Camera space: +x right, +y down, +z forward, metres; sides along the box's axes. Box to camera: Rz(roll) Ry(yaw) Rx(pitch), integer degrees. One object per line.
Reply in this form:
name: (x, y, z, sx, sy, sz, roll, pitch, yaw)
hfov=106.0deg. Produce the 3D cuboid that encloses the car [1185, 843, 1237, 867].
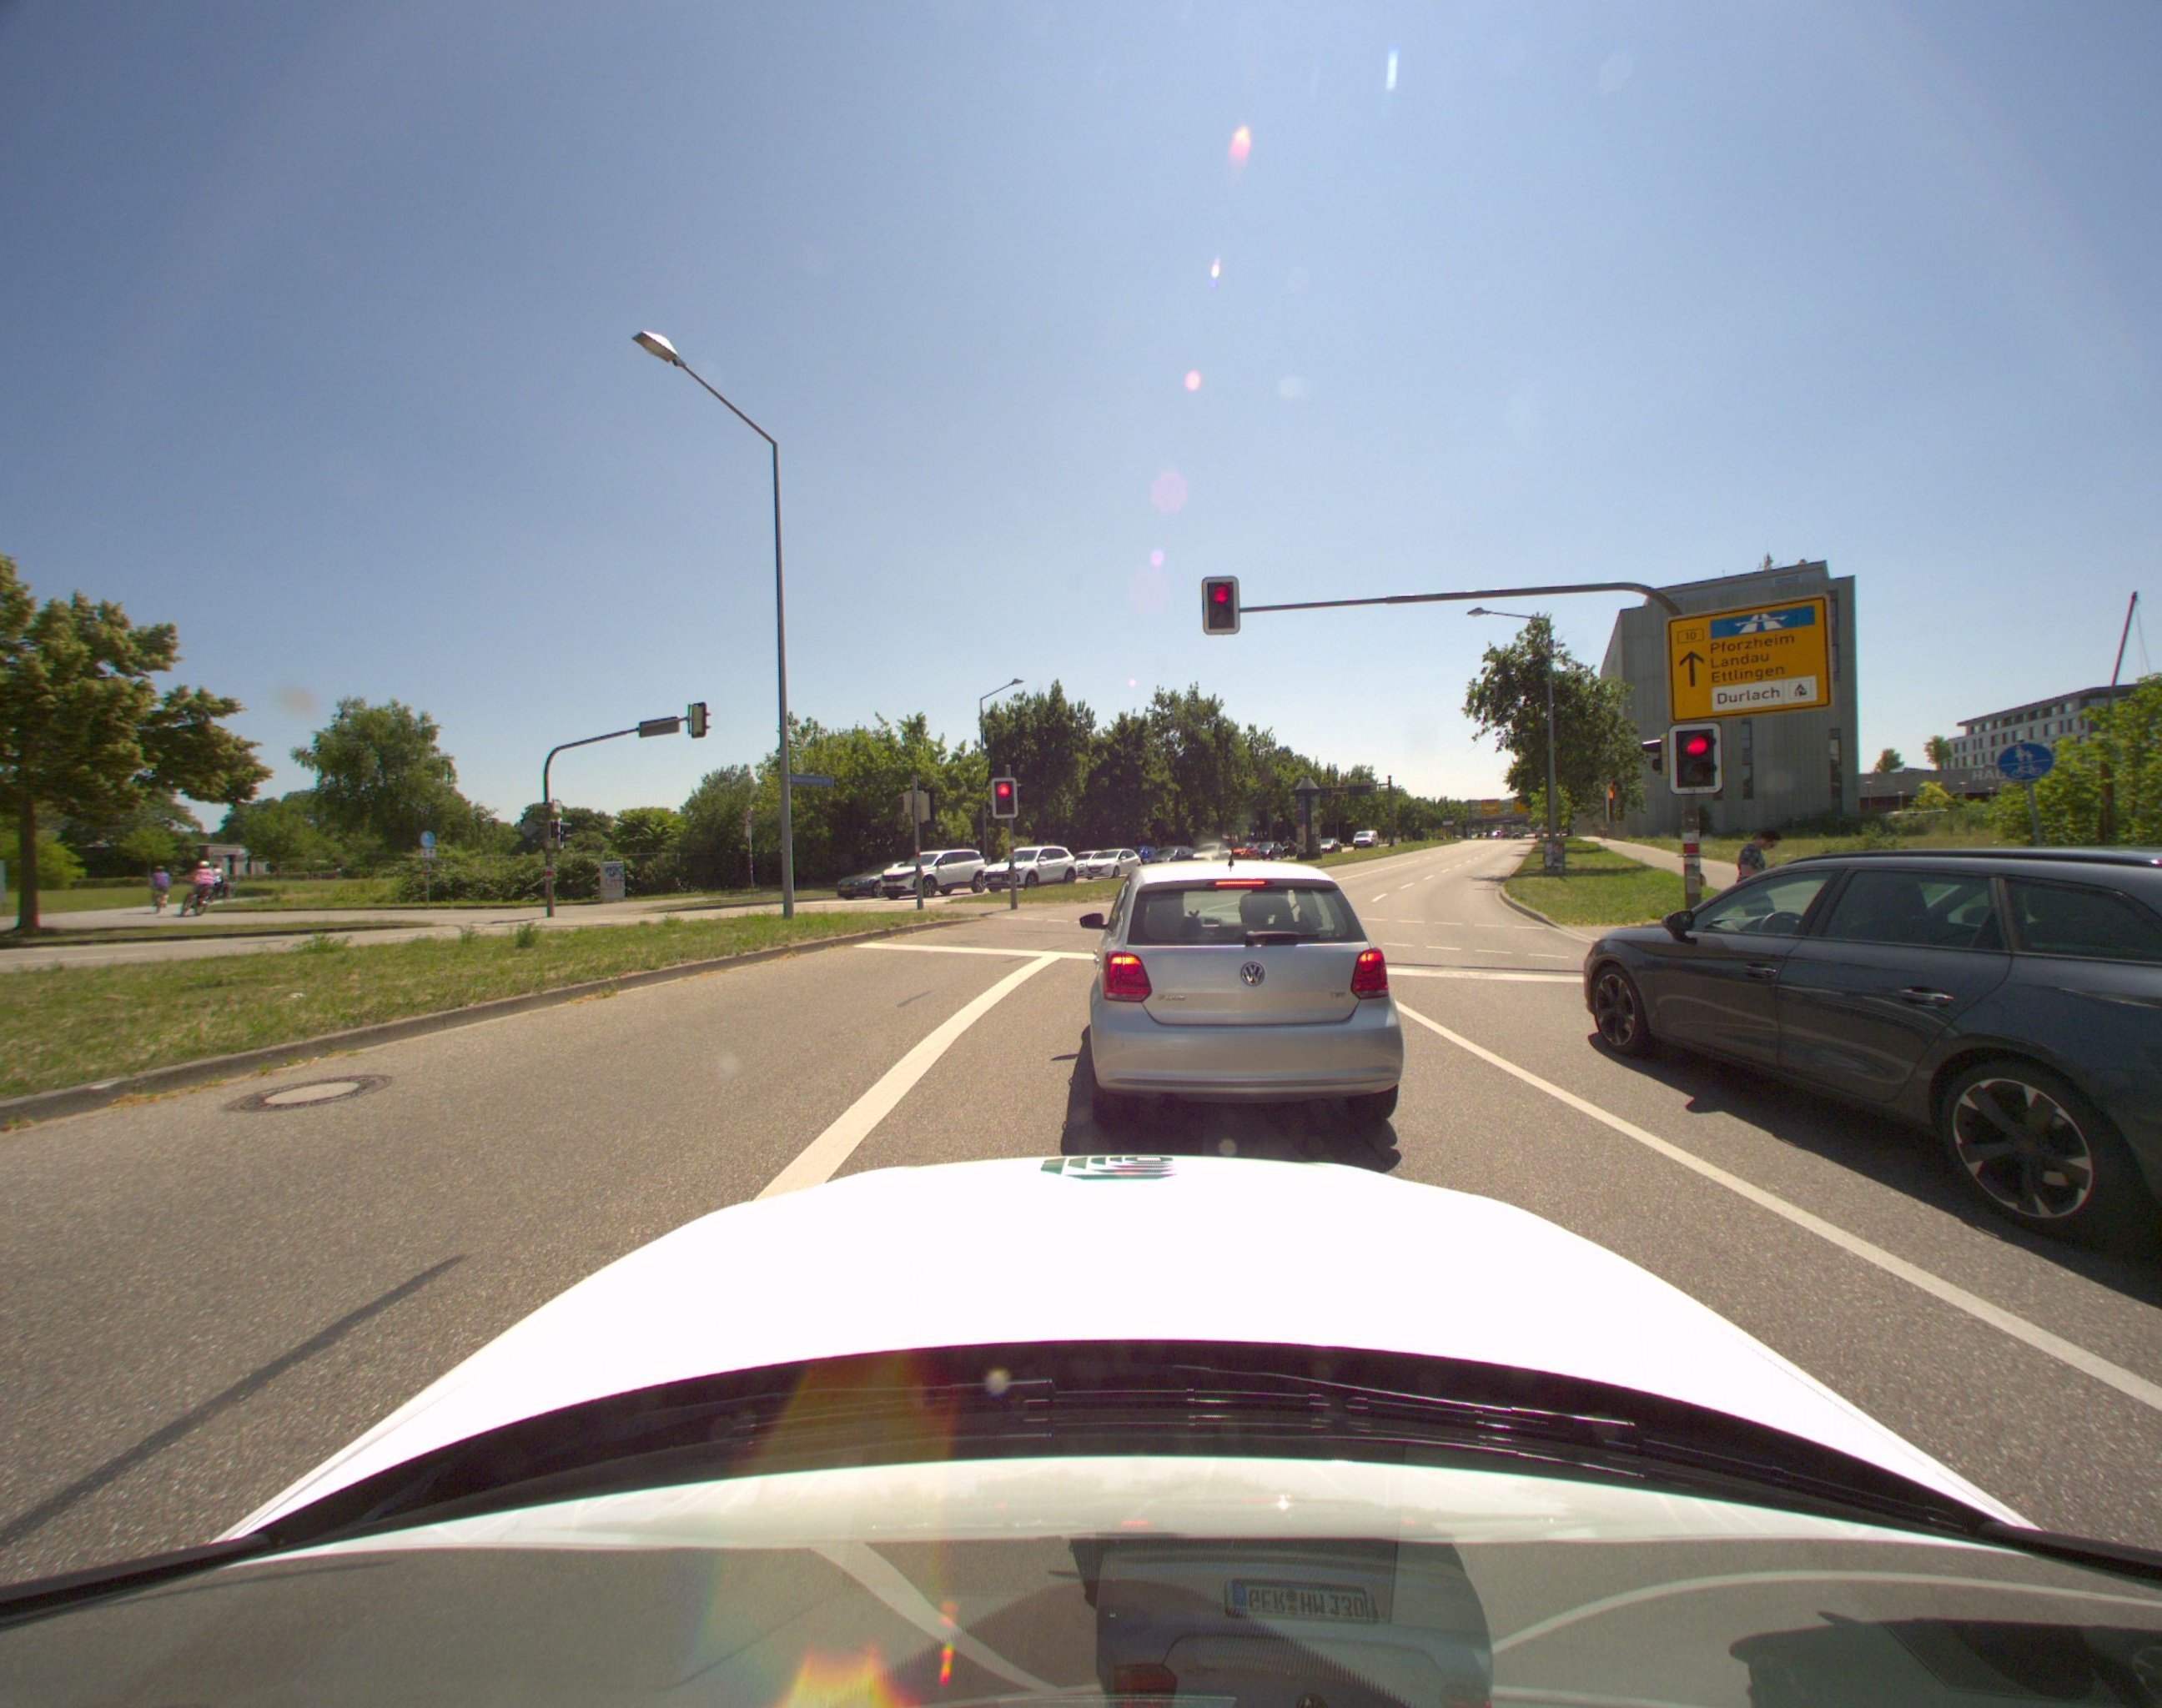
car: (8.631, 0.064, 53.737, 1.840, 1.422, 4.436, -1, 0, 31)

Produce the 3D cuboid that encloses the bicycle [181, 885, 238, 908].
bicycle: (-37.610, 1.795, 35.184, 0.743, 0.912, 2.902, -2, -1, -28)

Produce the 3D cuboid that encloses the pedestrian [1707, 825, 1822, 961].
pedestrian: (8.650, 0.481, 10.356, 0.944, 1.637, 0.762, -3, -1, 31)

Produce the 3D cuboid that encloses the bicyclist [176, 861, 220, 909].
bicyclist: (-30.757, 1.069, 28.382, 1.171, 1.610, 0.966, -3, -1, 44)

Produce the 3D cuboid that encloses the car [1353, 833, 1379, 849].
car: (29.309, -1.338, 83.598, 1.845, 1.554, 4.025, -1, 1, 29)

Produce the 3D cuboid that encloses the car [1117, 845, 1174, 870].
car: (4.170, 0.211, 52.133, 1.840, 1.422, 4.436, -1, 0, 31)

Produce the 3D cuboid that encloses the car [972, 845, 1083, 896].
car: (-1.881, 0.554, 30.151, 1.840, 1.683, 4.436, -2, 0, 31)

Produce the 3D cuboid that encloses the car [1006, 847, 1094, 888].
car: (-1.343, 0.564, 37.046, 1.840, 1.683, 4.436, -2, 0, 31)

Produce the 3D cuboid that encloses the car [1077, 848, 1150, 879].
car: (1.769, 0.464, 42.165, 1.840, 1.422, 4.436, -1, 0, 31)

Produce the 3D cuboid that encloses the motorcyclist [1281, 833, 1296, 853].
motorcyclist: (17.597, -0.926, 69.086, 0.897, 1.586, 1.017, -3, -1, 32)

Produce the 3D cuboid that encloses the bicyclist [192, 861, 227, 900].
bicyclist: (-37.622, 1.129, 35.164, 0.758, 1.614, 0.968, -2, -1, -30)

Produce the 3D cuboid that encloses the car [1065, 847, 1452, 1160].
car: (0.961, 0.696, 5.844, 1.768, 1.422, 4.004, -2, 1, 4)

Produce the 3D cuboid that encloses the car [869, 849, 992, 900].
car: (-5.334, 0.683, 29.361, 1.840, 1.618, 4.436, -2, 0, 31)

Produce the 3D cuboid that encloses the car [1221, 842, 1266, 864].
car: (11.954, -0.096, 59.832, 1.840, 1.422, 4.436, -1, 0, 31)

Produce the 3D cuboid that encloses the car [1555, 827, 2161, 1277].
car: (4.581, 0.601, 4.157, 1.984, 1.418, 4.461, -2, 1, 4)

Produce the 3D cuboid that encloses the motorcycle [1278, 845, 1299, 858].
motorcycle: (17.624, -0.215, 69.133, 0.886, 0.952, 2.834, -3, -1, 33)

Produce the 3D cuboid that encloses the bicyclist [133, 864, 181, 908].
bicyclist: (-34.267, 1.164, 30.220, 0.965, 1.531, 1.172, -2, 1, -40)

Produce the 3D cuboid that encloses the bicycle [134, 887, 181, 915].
bicycle: (-34.291, 1.731, 30.261, 0.903, 0.900, 1.742, 0, 0, -40)

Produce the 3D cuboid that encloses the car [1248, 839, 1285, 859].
car: (14.660, -0.378, 64.248, 1.699, 1.475, 3.821, -3, -1, 29)

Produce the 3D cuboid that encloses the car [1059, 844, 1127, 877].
car: (0.722, 0.339, 46.094, 1.840, 1.683, 4.436, -2, 0, 31)

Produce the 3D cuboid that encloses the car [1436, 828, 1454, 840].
car: (52.350, -2.845, 117.163, 1.783, 1.692, 4.168, -3, -1, 31)

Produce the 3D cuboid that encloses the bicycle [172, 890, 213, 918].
bicycle: (-30.928, 1.713, 28.375, 2.198, 0.900, 0.904, -3, -2, 44)

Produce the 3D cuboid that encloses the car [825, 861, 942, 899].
car: (-7.648, 0.988, 31.963, 1.840, 1.270, 4.436, -1, 1, 31)

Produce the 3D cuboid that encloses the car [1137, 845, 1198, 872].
car: (5.161, 0.253, 47.858, 1.840, 1.422, 4.436, -1, 0, 31)

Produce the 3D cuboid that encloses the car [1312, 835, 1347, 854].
car: (20.986, -0.801, 68.643, 1.951, 1.488, 4.025, -1, 1, 30)
